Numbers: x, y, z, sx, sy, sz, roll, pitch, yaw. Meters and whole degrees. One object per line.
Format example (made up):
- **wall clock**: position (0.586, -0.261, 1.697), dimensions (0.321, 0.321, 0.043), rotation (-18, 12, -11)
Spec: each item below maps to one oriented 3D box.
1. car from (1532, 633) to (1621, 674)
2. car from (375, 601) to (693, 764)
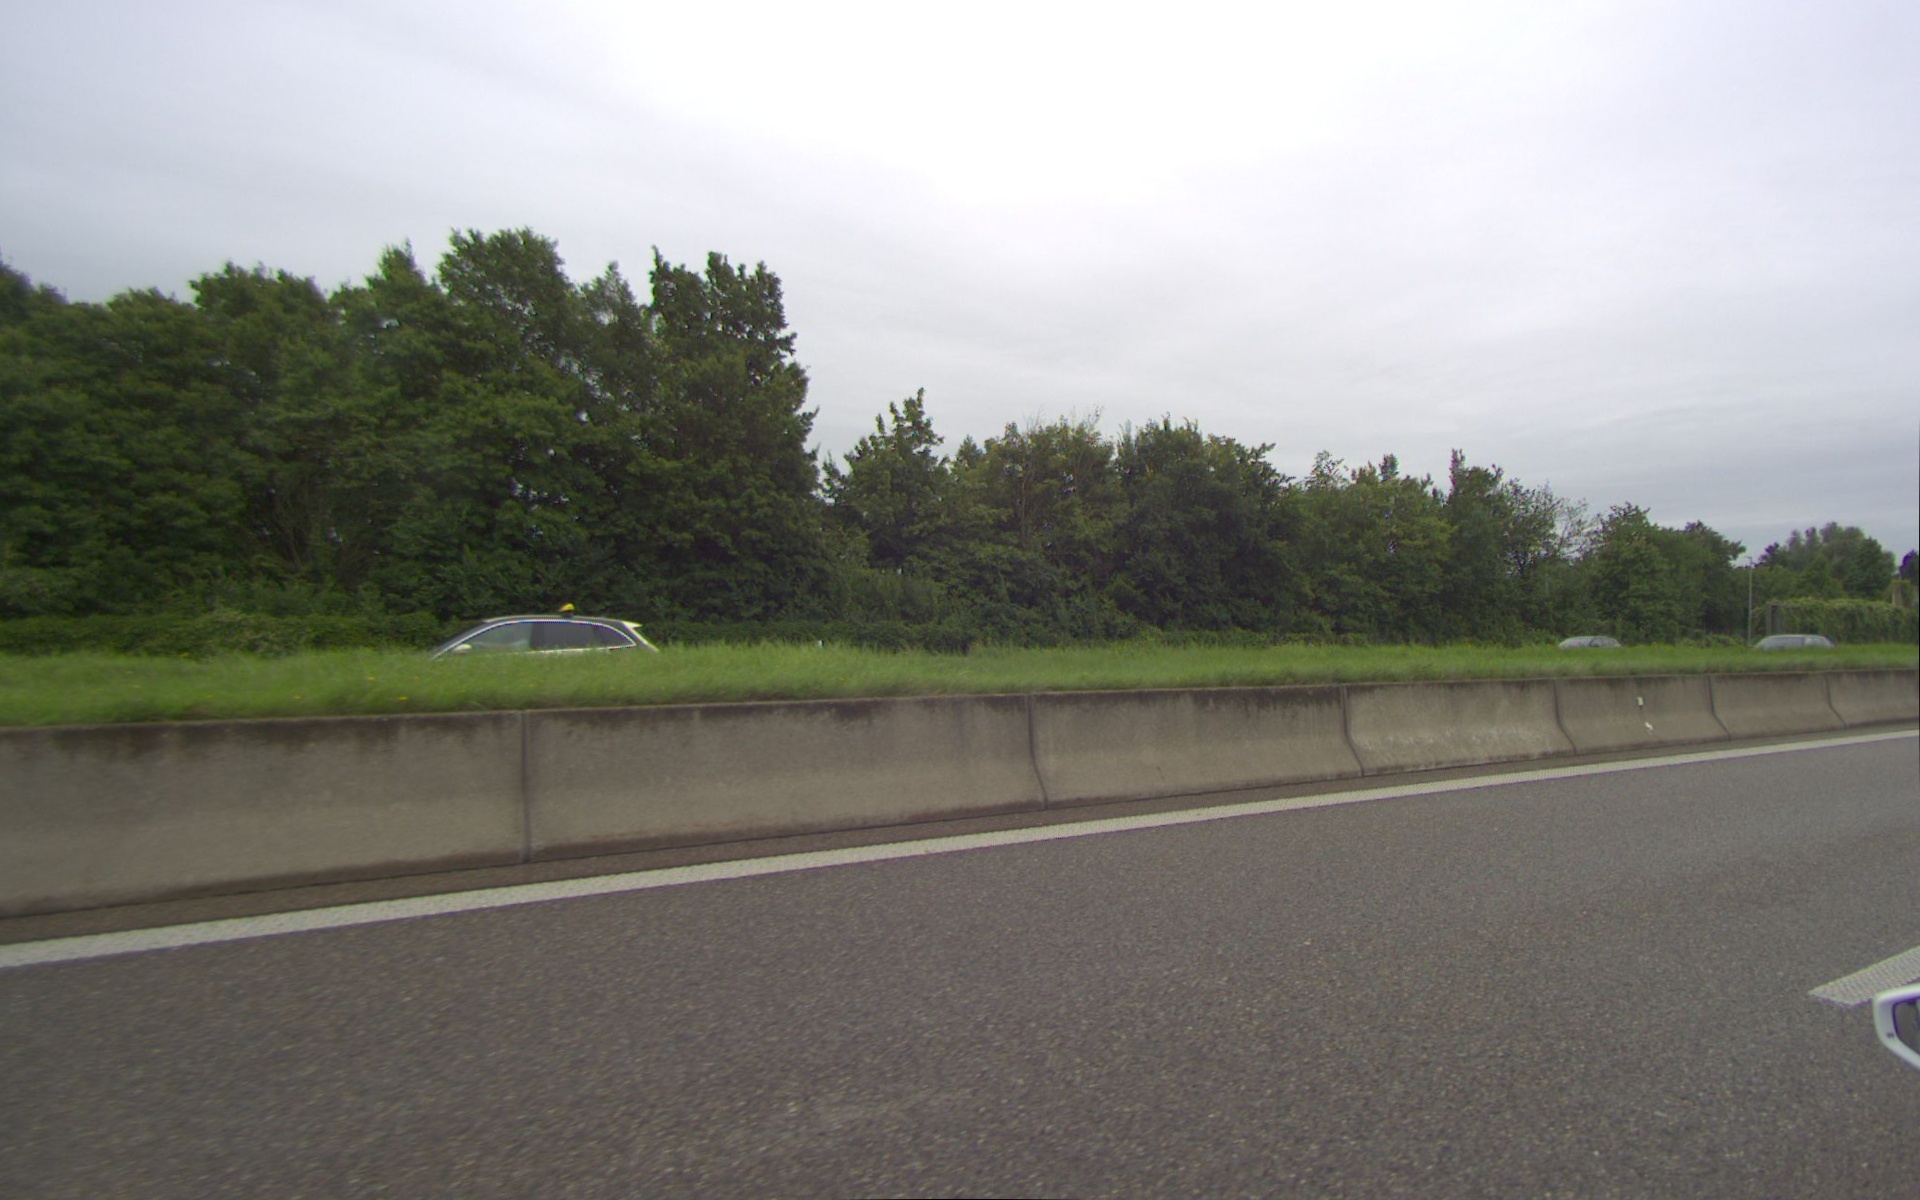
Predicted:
- **car**: position (29.129, 2.506, 47.426), dimensions (3.955, 1.818, 1.983), rotation (2, 0, -31)
- **car**: position (-5.990, 1.084, 14.275), dimensions (3.953, 2.040, 1.613), rotation (2, 0, -30)
